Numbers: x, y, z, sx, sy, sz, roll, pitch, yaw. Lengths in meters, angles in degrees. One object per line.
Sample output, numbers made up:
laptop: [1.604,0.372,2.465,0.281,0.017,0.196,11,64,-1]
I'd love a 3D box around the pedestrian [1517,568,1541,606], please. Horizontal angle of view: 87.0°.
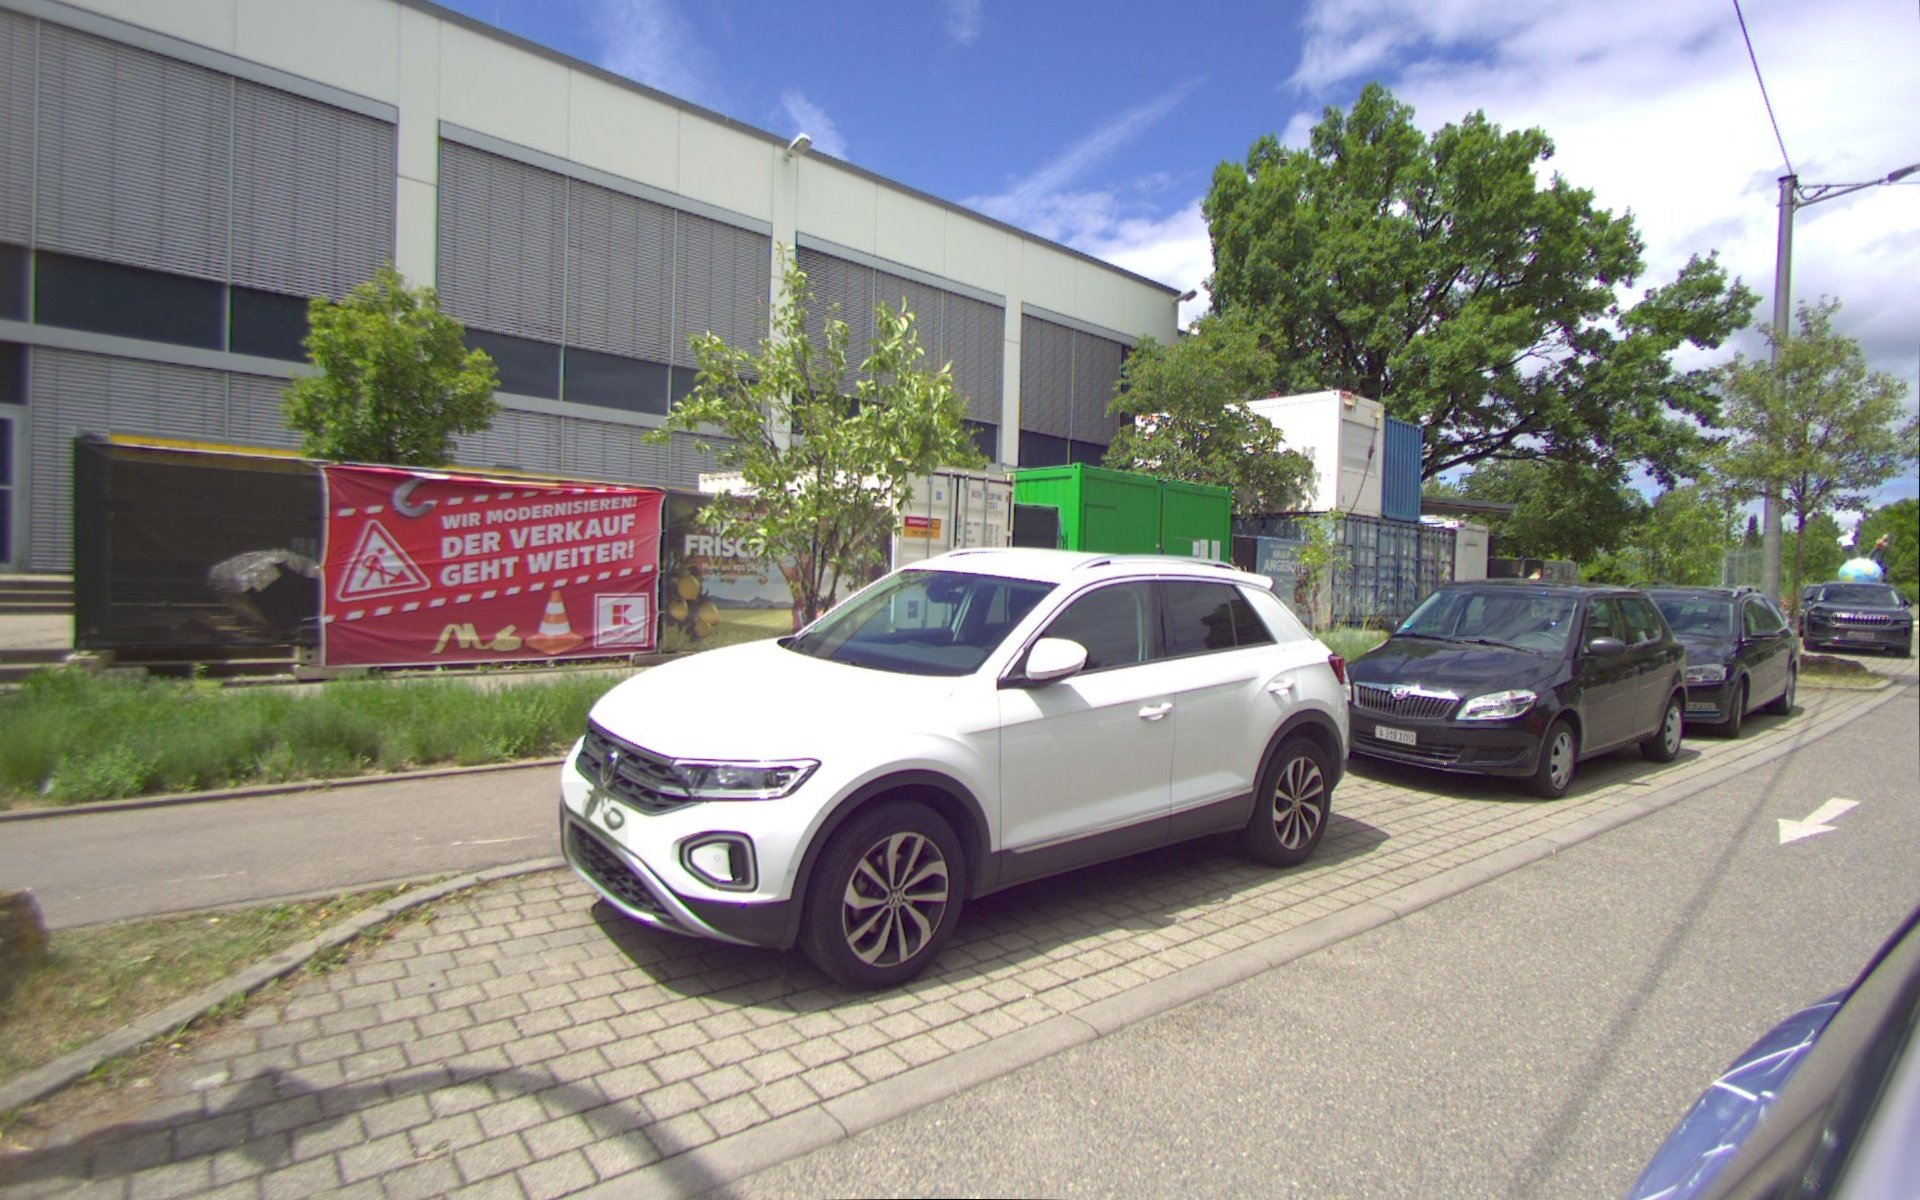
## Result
pedestrian: [16.211,-0.378,28.834,0.557,1.071,0.412,-1,2,-43]

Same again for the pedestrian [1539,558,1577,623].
pedestrian: [16.198,-0.260,27.405,0.830,1.718,0.652,-1,2,-43]

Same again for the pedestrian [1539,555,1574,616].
pedestrian: [16.932,-0.416,28.749,0.712,1.717,0.651,-1,2,-43]

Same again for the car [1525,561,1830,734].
car: [8.355,0.376,11.588,4.852,1.494,1.768,-1,5,-42]

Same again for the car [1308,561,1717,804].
car: [4.662,0.475,8.306,3.929,1.511,1.572,-1,4,-40]

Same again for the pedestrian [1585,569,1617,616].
pedestrian: [22.725,-0.263,35.869,0.755,1.638,0.743,-1,2,-43]

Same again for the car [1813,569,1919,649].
car: [21.563,0.135,24.011,1.877,1.641,4.778,4,4,39]

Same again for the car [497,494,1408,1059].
car: [0.266,0.413,4.955,4.309,1.635,1.742,-1,5,-40]
